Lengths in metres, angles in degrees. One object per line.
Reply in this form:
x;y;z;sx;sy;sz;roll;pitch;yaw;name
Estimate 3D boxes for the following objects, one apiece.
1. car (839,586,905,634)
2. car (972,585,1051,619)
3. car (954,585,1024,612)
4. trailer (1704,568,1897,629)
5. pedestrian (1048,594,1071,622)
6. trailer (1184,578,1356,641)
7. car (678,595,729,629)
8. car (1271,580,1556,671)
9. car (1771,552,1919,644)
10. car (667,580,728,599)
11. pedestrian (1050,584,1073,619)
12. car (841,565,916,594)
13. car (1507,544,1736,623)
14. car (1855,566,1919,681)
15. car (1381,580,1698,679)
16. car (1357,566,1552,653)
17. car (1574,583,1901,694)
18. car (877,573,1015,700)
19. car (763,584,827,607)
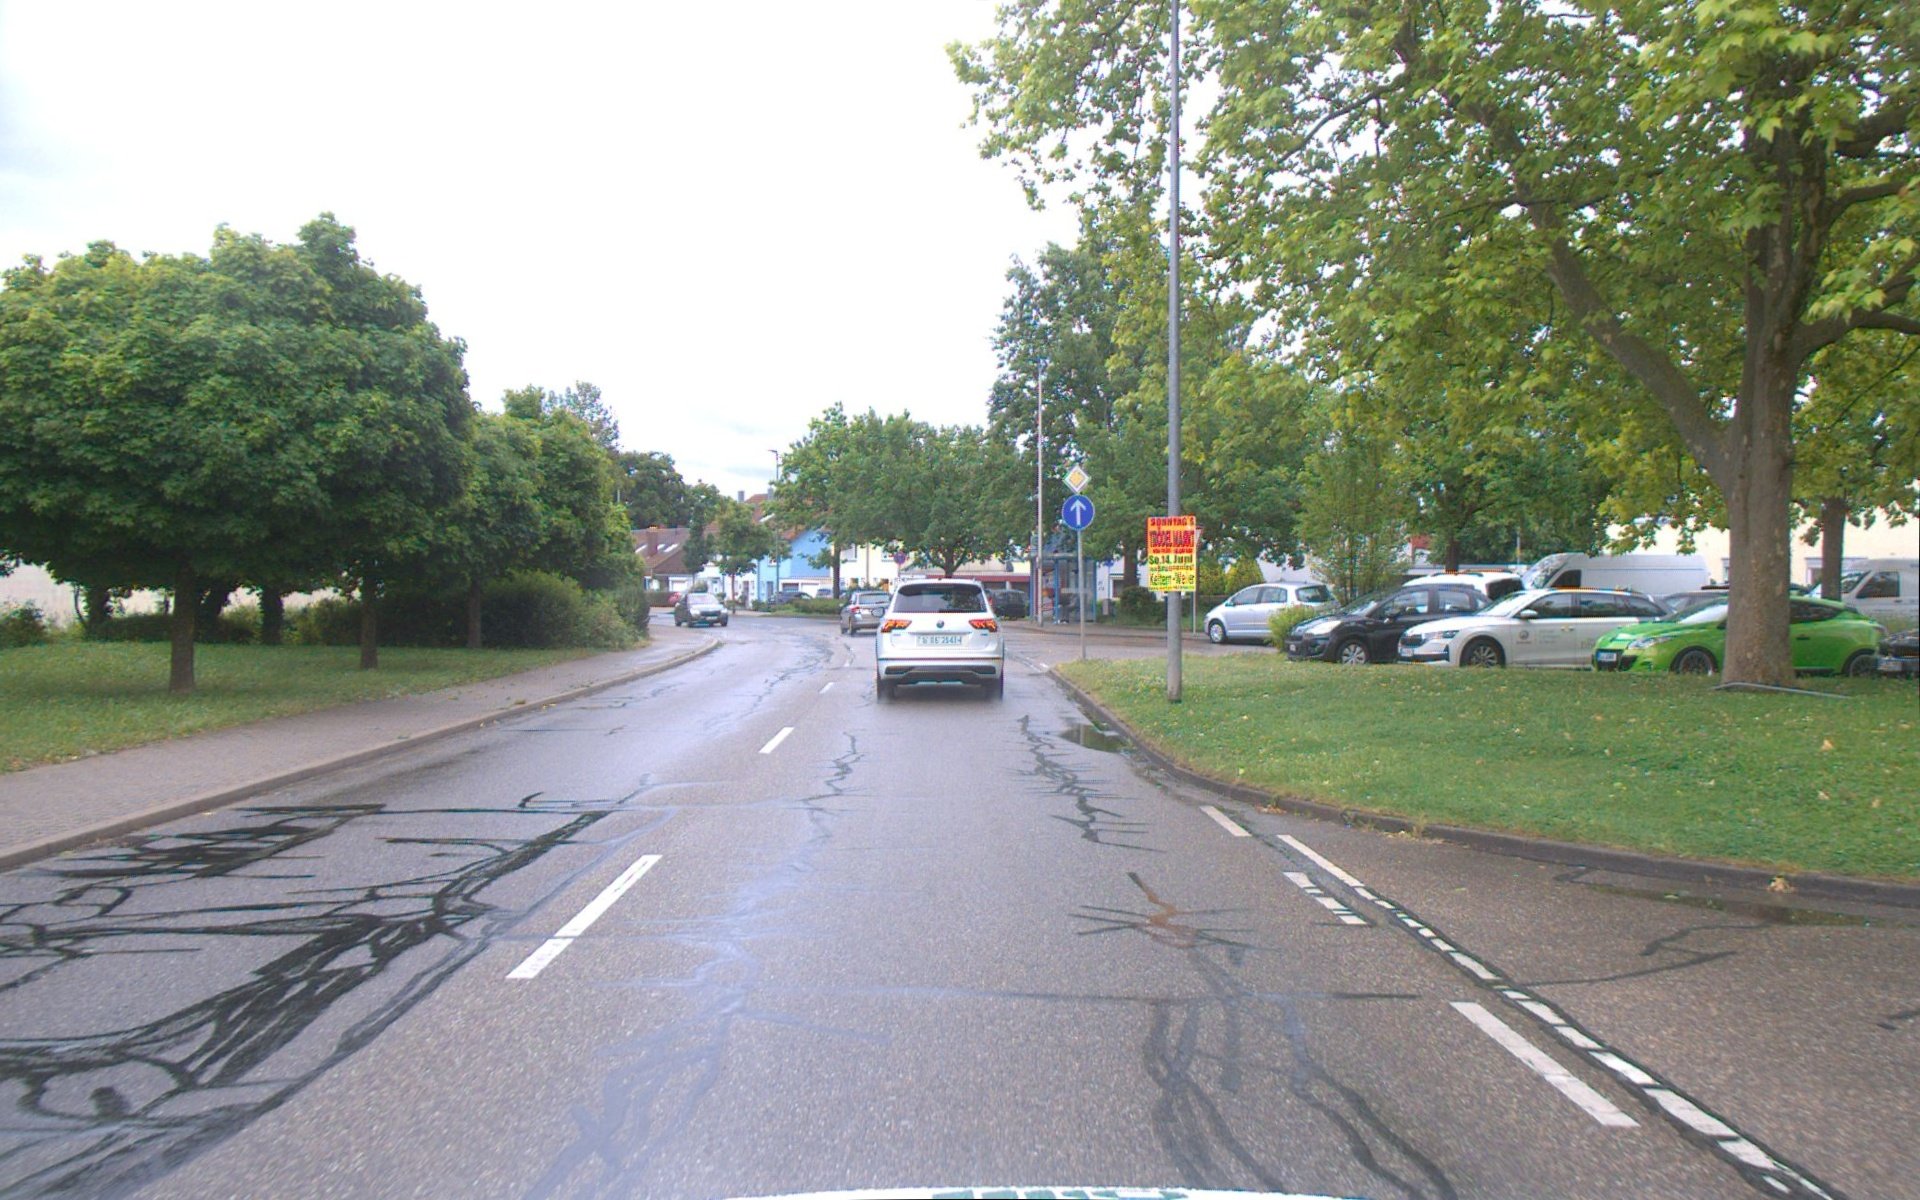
-3.057;0.325;56.770;1.737;1.578;3.989;0;0;-11;car
2.787;0.075;88.387;3.958;1.751;1.898;0;0;-38;car
1.610;-0.084;90.817;3.665;1.467;1.684;0;0;-38;car
20.709;-0.034;40.843;3.905;1.462;1.712;0;0;-1;trailer
3.643;0.281;60.416;0.735;1.029;0.550;0;0;-10;pedestrian
8.142;0.220;43.740;1.977;1.570;4.372;-1;1;-35;trailer
-11.500;0.505;74.068;1.713;1.439;4.123;0;0;-17;car
7.901;0.416;29.005;4.485;1.468;1.762;-1;0;-7;car
21.626;-0.082;38.442;4.661;2.049;1.996;-1;0;-8;car
-19.155;-0.734;120.923;1.651;1.283;4.288;1;0;44;car
3.675;0.059;59.725;0.713;1.272;0.550;0;0;-10;pedestrian
-4.914;-1.234;99.996;4.145;1.701;1.967;0;0;-35;car
18.190;-0.469;45.550;5.717;2.049;1.994;-1;0;-12;car
13.605;0.251;20.710;3.933;1.395;1.762;-1;0;-7;car
9.229;0.440;26.516;4.485;1.468;1.762;-1;0;-7;car
11.499;0.186;38.730;1.974;1.914;4.167;0;0;-31;car
11.131;0.514;23.811;3.933;1.468;1.762;-1;0;-7;car
-0.214;0.474;24.240;1.827;1.679;3.999;-1;1;-1;car
-10.757;-0.307;108.163;3.962;1.411;1.651;0;1;-40;car
